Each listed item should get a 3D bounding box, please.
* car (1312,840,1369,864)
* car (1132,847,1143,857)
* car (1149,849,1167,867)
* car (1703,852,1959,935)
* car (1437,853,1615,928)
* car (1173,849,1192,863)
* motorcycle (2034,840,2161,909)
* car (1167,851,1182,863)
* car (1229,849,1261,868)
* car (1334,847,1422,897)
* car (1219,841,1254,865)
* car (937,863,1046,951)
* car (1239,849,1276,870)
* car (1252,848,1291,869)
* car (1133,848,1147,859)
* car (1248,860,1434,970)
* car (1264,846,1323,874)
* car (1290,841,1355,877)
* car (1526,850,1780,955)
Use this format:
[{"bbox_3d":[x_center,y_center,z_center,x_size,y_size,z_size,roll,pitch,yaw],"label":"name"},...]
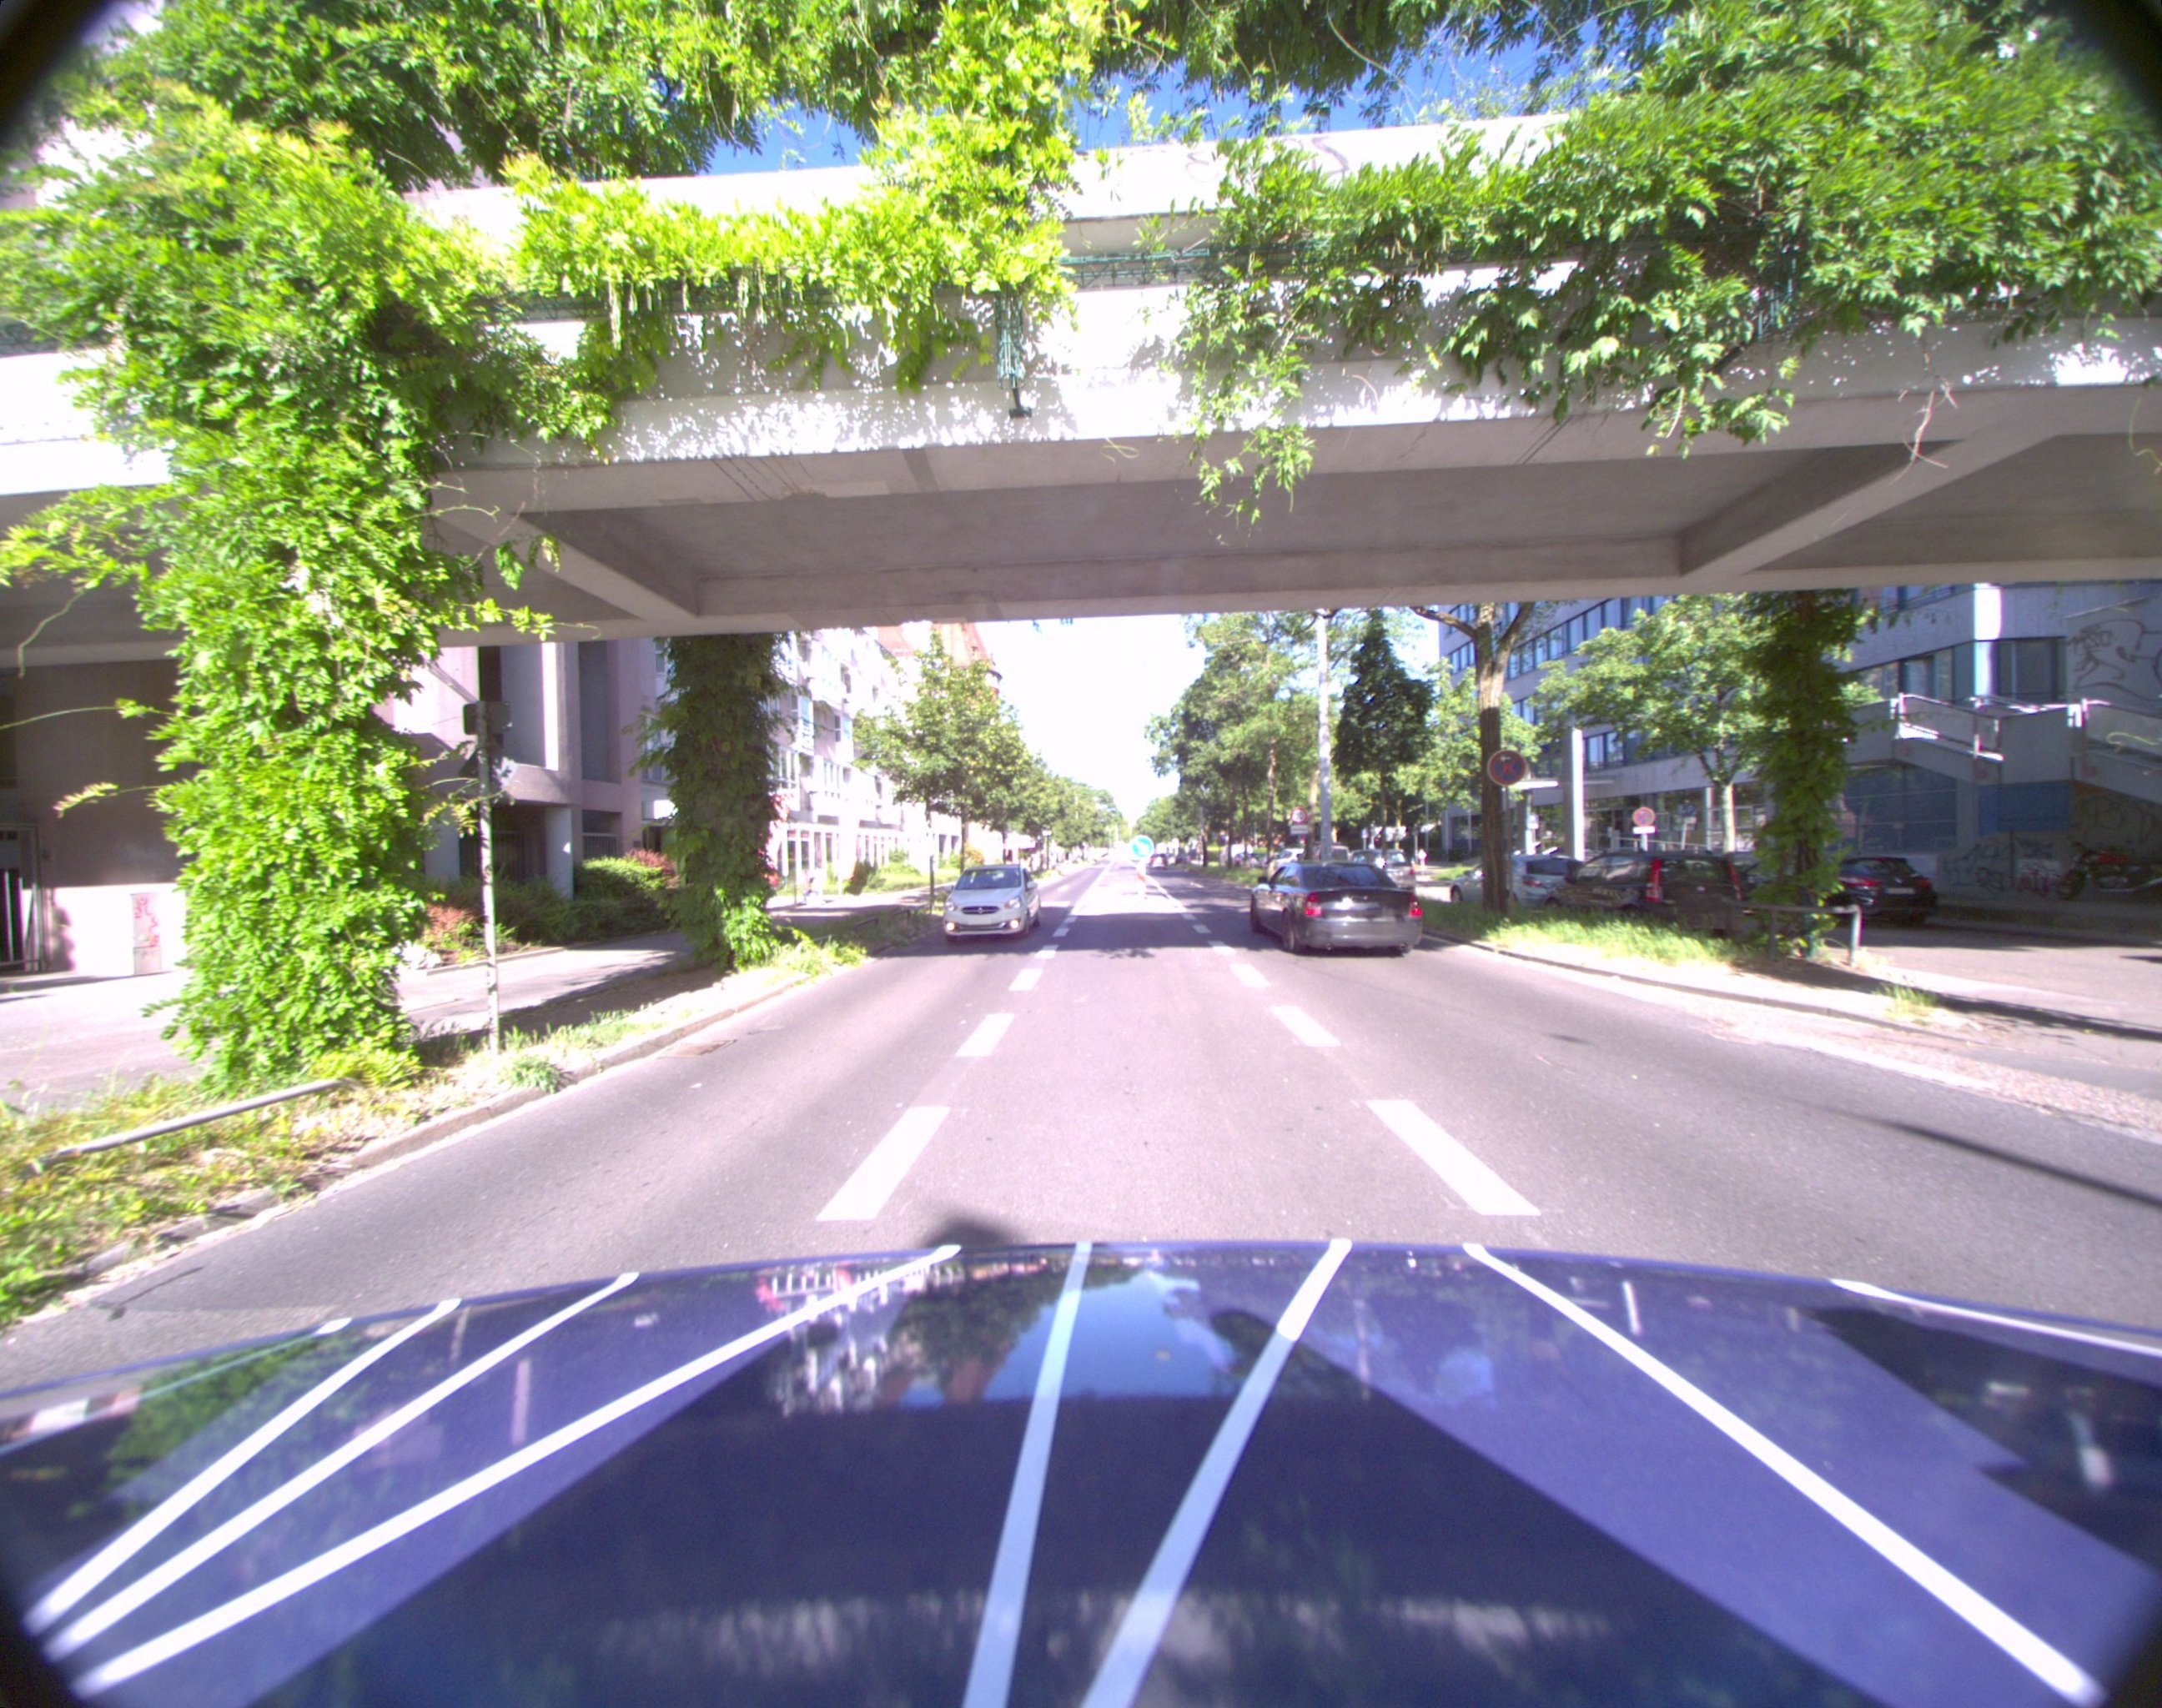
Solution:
[{"bbox_3d":[20.720,-0.176,60.720,3.995,1.704,1.706,-4,1,8],"label":"car"},{"bbox_3d":[9.636,-0.323,129.747,1.791,1.575,4.188,-1,1,2],"label":"car"},{"bbox_3d":[6.652,0.355,65.658,1.470,1.518,2.817,-1,1,4],"label":"car"},{"bbox_3d":[15.945,0.753,16.503,1.736,1.521,4.000,-1,1,3],"label":"car"},{"bbox_3d":[10.077,0.744,17.651,1.656,1.440,4.282,2,1,2],"label":"car"},{"bbox_3d":[11.120,0.176,83.560,1.740,1.481,4.001,-1,1,4],"label":"car"},{"bbox_3d":[20.323,0.367,14.907,0.731,1.263,2.054,-1,1,2],"label":"motorcycle"},{"bbox_3d":[11.687,0.357,94.737,1.605,1.406,4.001,-1,1,4],"label":"car"},{"bbox_3d":[12.205,0.312,56.651,1.679,1.325,4.189,-1,1,3],"label":"car"},{"bbox_3d":[10.595,0.577,27.442,1.777,1.637,4.083,-1,1,3],"label":"car"},{"bbox_3d":[12.636,-0.098,61.950,2.070,1.898,4.525,-1,1,2],"label":"car"},{"bbox_3d":[-1.770,1.025,16.315,1.663,1.521,4.100,-1,1,2],"label":"car"},{"bbox_3d":[11.856,0.362,51.375,1.656,1.336,3.969,-1,1,2],"label":"car"},{"bbox_3d":[11.511,0.243,46.103,1.655,1.219,3.848,-1,1,4],"label":"car"},{"bbox_3d":[7.879,-0.102,101.857,1.791,1.414,4.189,0,1,3],"label":"car"},{"bbox_3d":[4.152,0.879,12.988,1.870,1.450,4.594,-1,1,4],"label":"car"},{"bbox_3d":[11.464,0.302,41.292,1.721,1.375,4.491,-1,1,-3],"label":"car"},{"bbox_3d":[11.050,0.194,35.032,1.734,1.540,4.449,-1,1,3],"label":"car"},{"bbox_3d":[9.809,0.724,13.454,1.744,1.529,3.779,1,1,3],"label":"car"}]
